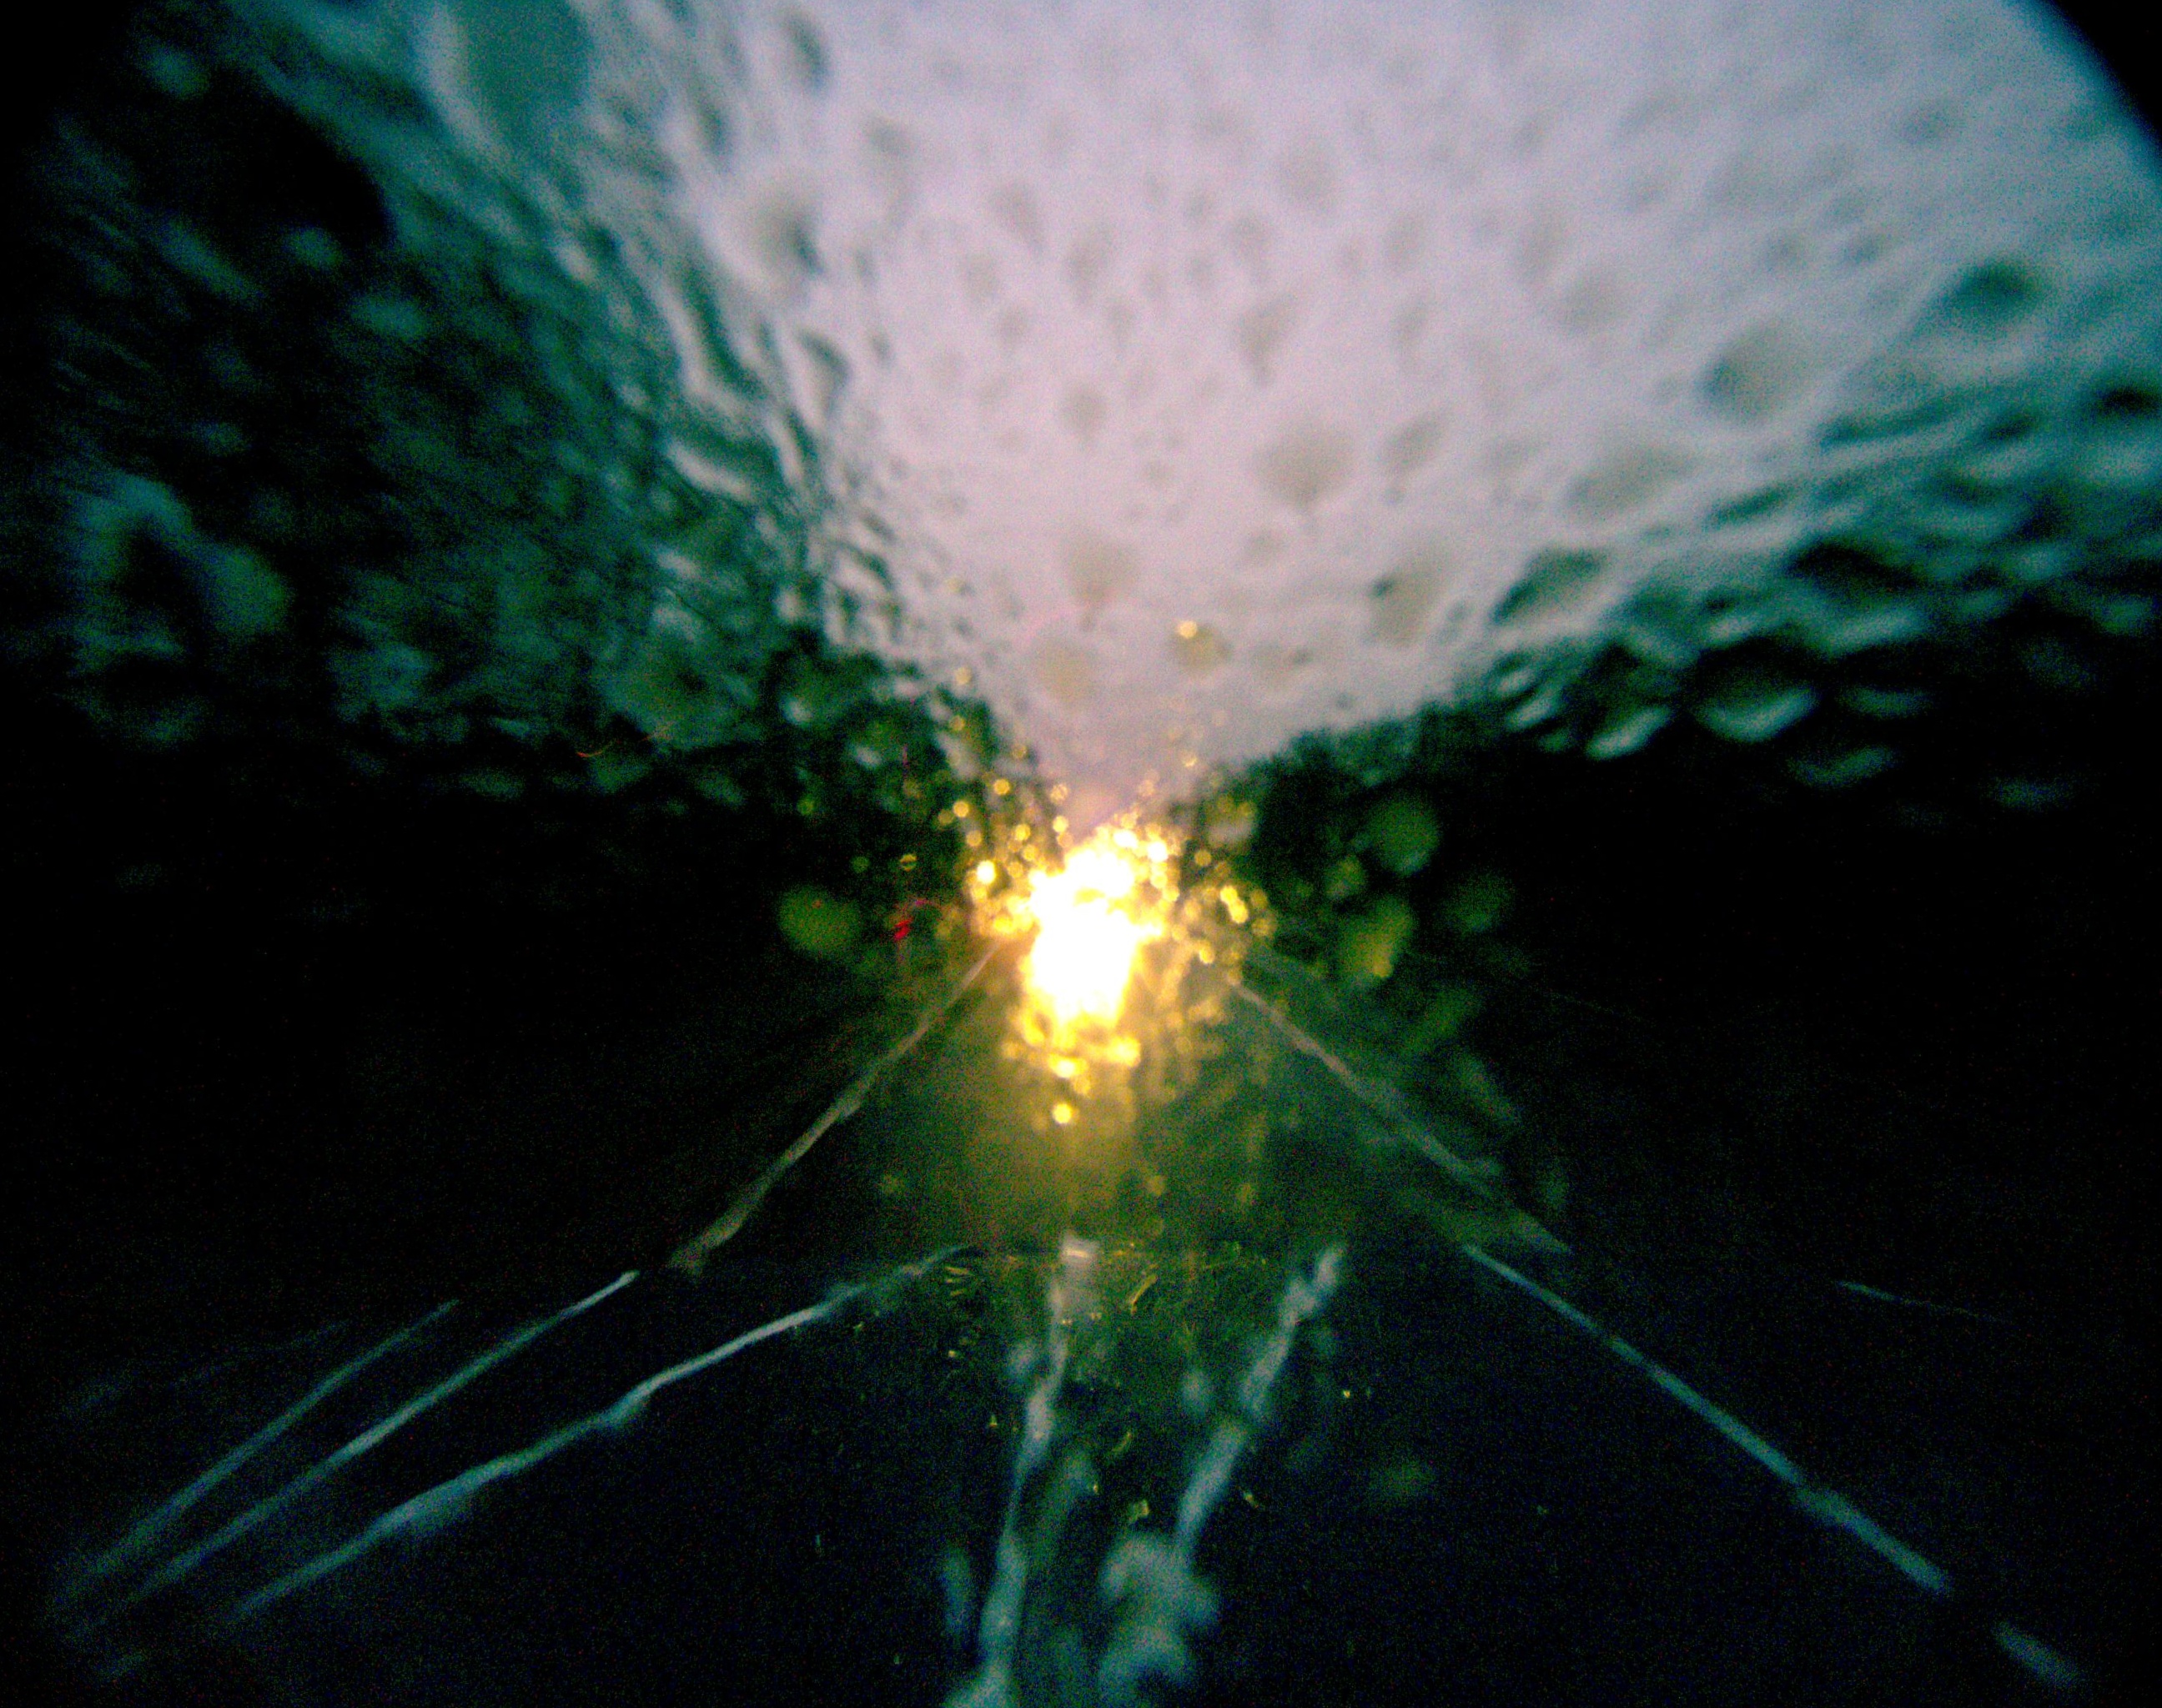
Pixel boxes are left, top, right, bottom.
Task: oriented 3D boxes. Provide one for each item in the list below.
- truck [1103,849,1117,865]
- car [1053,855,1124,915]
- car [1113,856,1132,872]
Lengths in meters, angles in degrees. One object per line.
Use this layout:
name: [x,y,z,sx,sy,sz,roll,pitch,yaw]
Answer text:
truck: [5.138,0.475,135.750,2.108,2.755,6.871,-2,0,1]
car: [0.217,0.899,24.128,1.998,1.672,4.000,-2,0,0]
car: [4.261,1.059,78.717,1.698,1.551,4.130,-2,-1,1]
